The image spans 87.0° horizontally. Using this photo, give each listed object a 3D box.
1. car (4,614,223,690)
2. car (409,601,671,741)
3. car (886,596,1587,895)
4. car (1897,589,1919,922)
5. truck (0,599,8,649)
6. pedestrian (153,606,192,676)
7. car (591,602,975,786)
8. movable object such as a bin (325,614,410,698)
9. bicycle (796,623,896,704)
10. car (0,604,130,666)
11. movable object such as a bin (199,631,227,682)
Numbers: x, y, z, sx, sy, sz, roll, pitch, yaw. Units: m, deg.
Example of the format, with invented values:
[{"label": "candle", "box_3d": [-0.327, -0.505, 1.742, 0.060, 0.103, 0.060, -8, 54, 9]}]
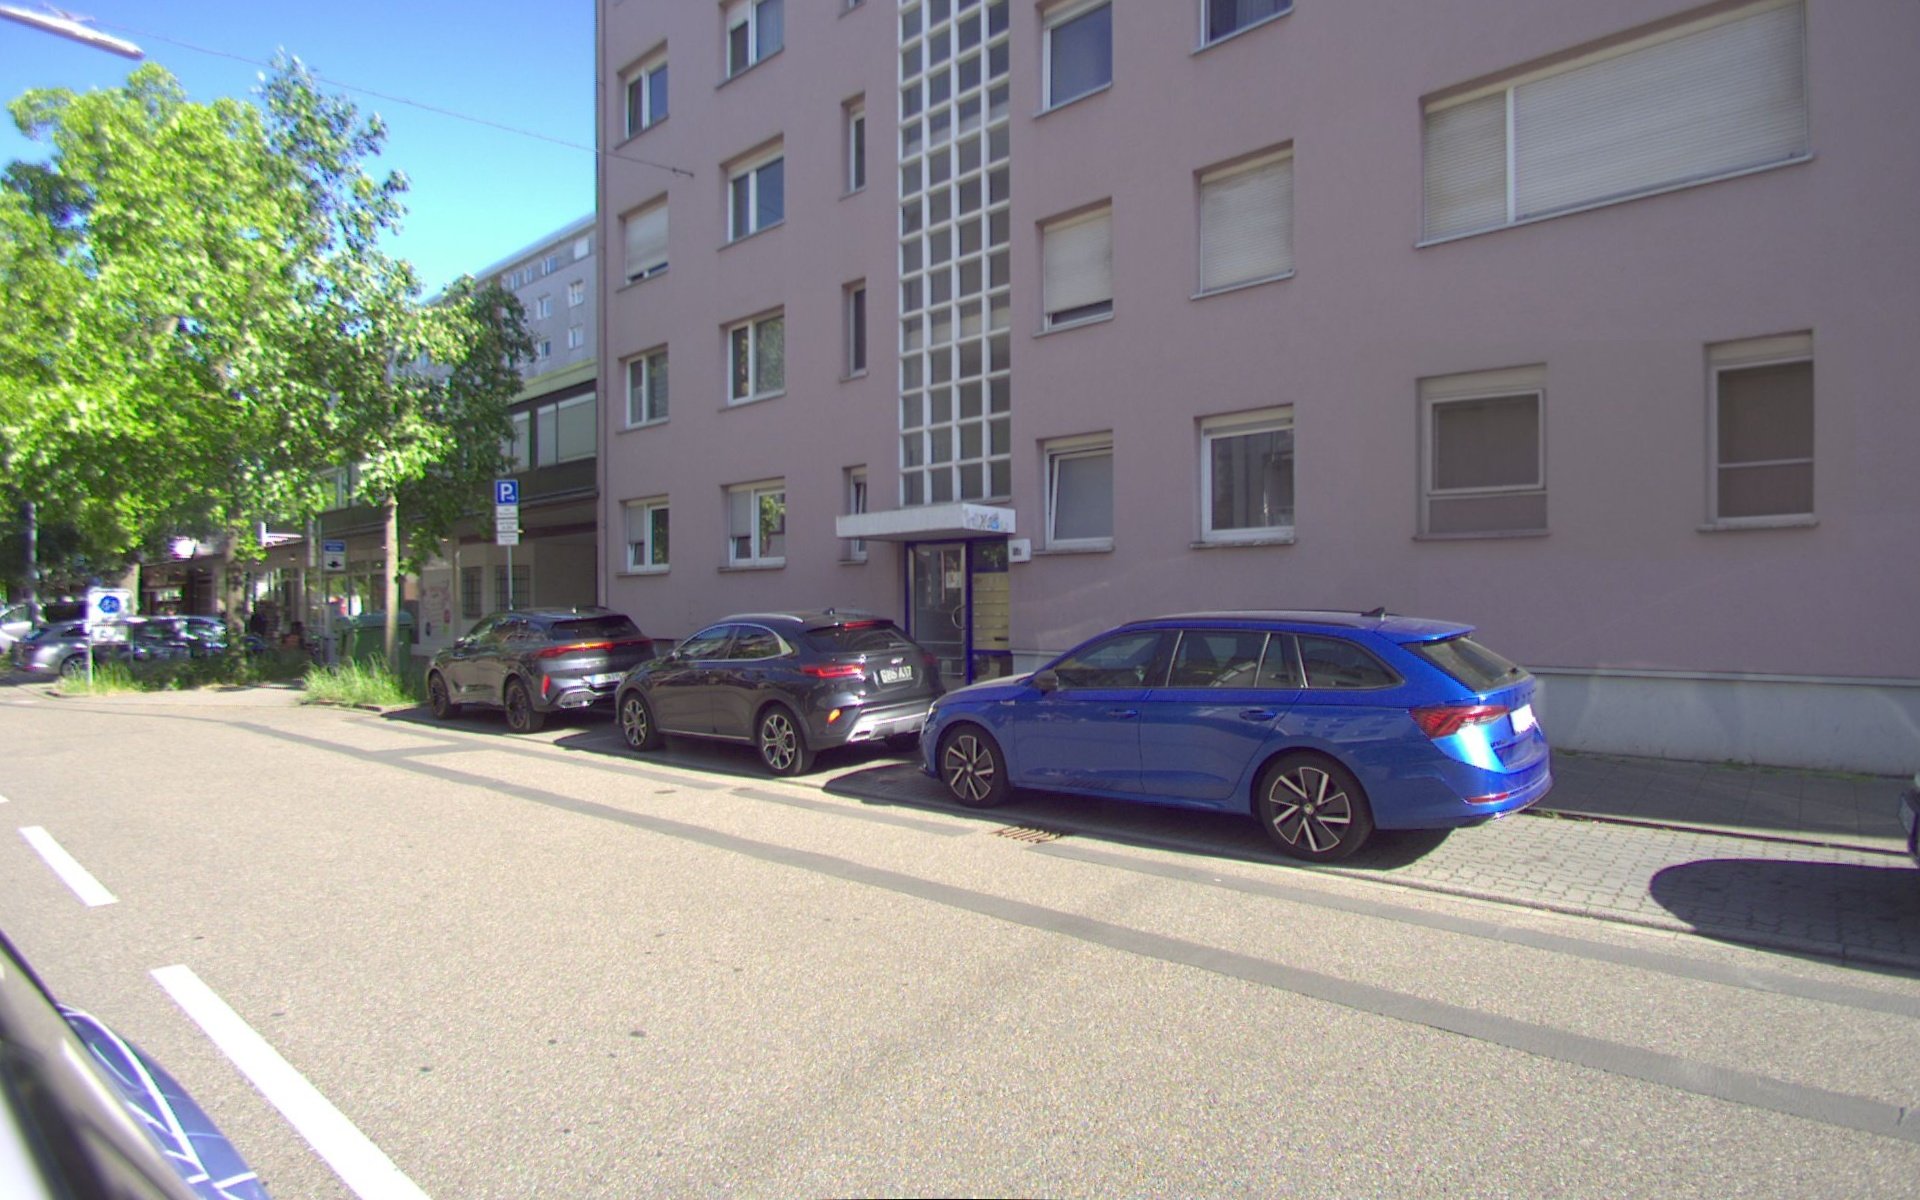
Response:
[{"label": "car", "box_3d": [-20.961, 1.226, 25.164, 1.999, 1.687, 3.945, -1, -1, 41]}, {"label": "car", "box_3d": [-6.041, 0.894, 14.327, 4.141, 1.604, 1.798, -1, 2, 43]}, {"label": "car", "box_3d": [1.704, 0.784, 7.338, 4.610, 1.476, 1.699, -1, 1, 41]}, {"label": "car", "box_3d": [6.319, 0.673, 3.209, 4.812, 1.476, 1.700, -1, 1, 41]}, {"label": "truck", "box_3d": [-52.332, 1.242, 51.570, 1.993, 2.615, 5.266, -1, -1, 31]}, {"label": "pedestrian", "box_3d": [-23.127, 1.205, 29.737, 0.746, 2.029, 0.563, -1, -1, 15]}, {"label": "car", "box_3d": [-2.029, 0.841, 10.788, 4.245, 1.519, 1.798, -1, 1, 43]}, {"label": "movable object such as a bin", "box_3d": [-11.565, 1.064, 19.769, 1.230, 1.557, 1.019, 0, -1, -44]}, {"label": "bicycle", "box_3d": [-1.677, 0.896, 14.708, 1.649, 1.084, 0.386, -1, 3, 42]}, {"label": "car", "box_3d": [-31.273, 1.167, 34.822, 1.999, 2.047, 3.945, -1, -1, 41]}, {"label": "movable object such as a bin", "box_3d": [-18.477, 1.381, 25.018, 0.409, 1.234, 0.482, -1, -1, 41]}]
